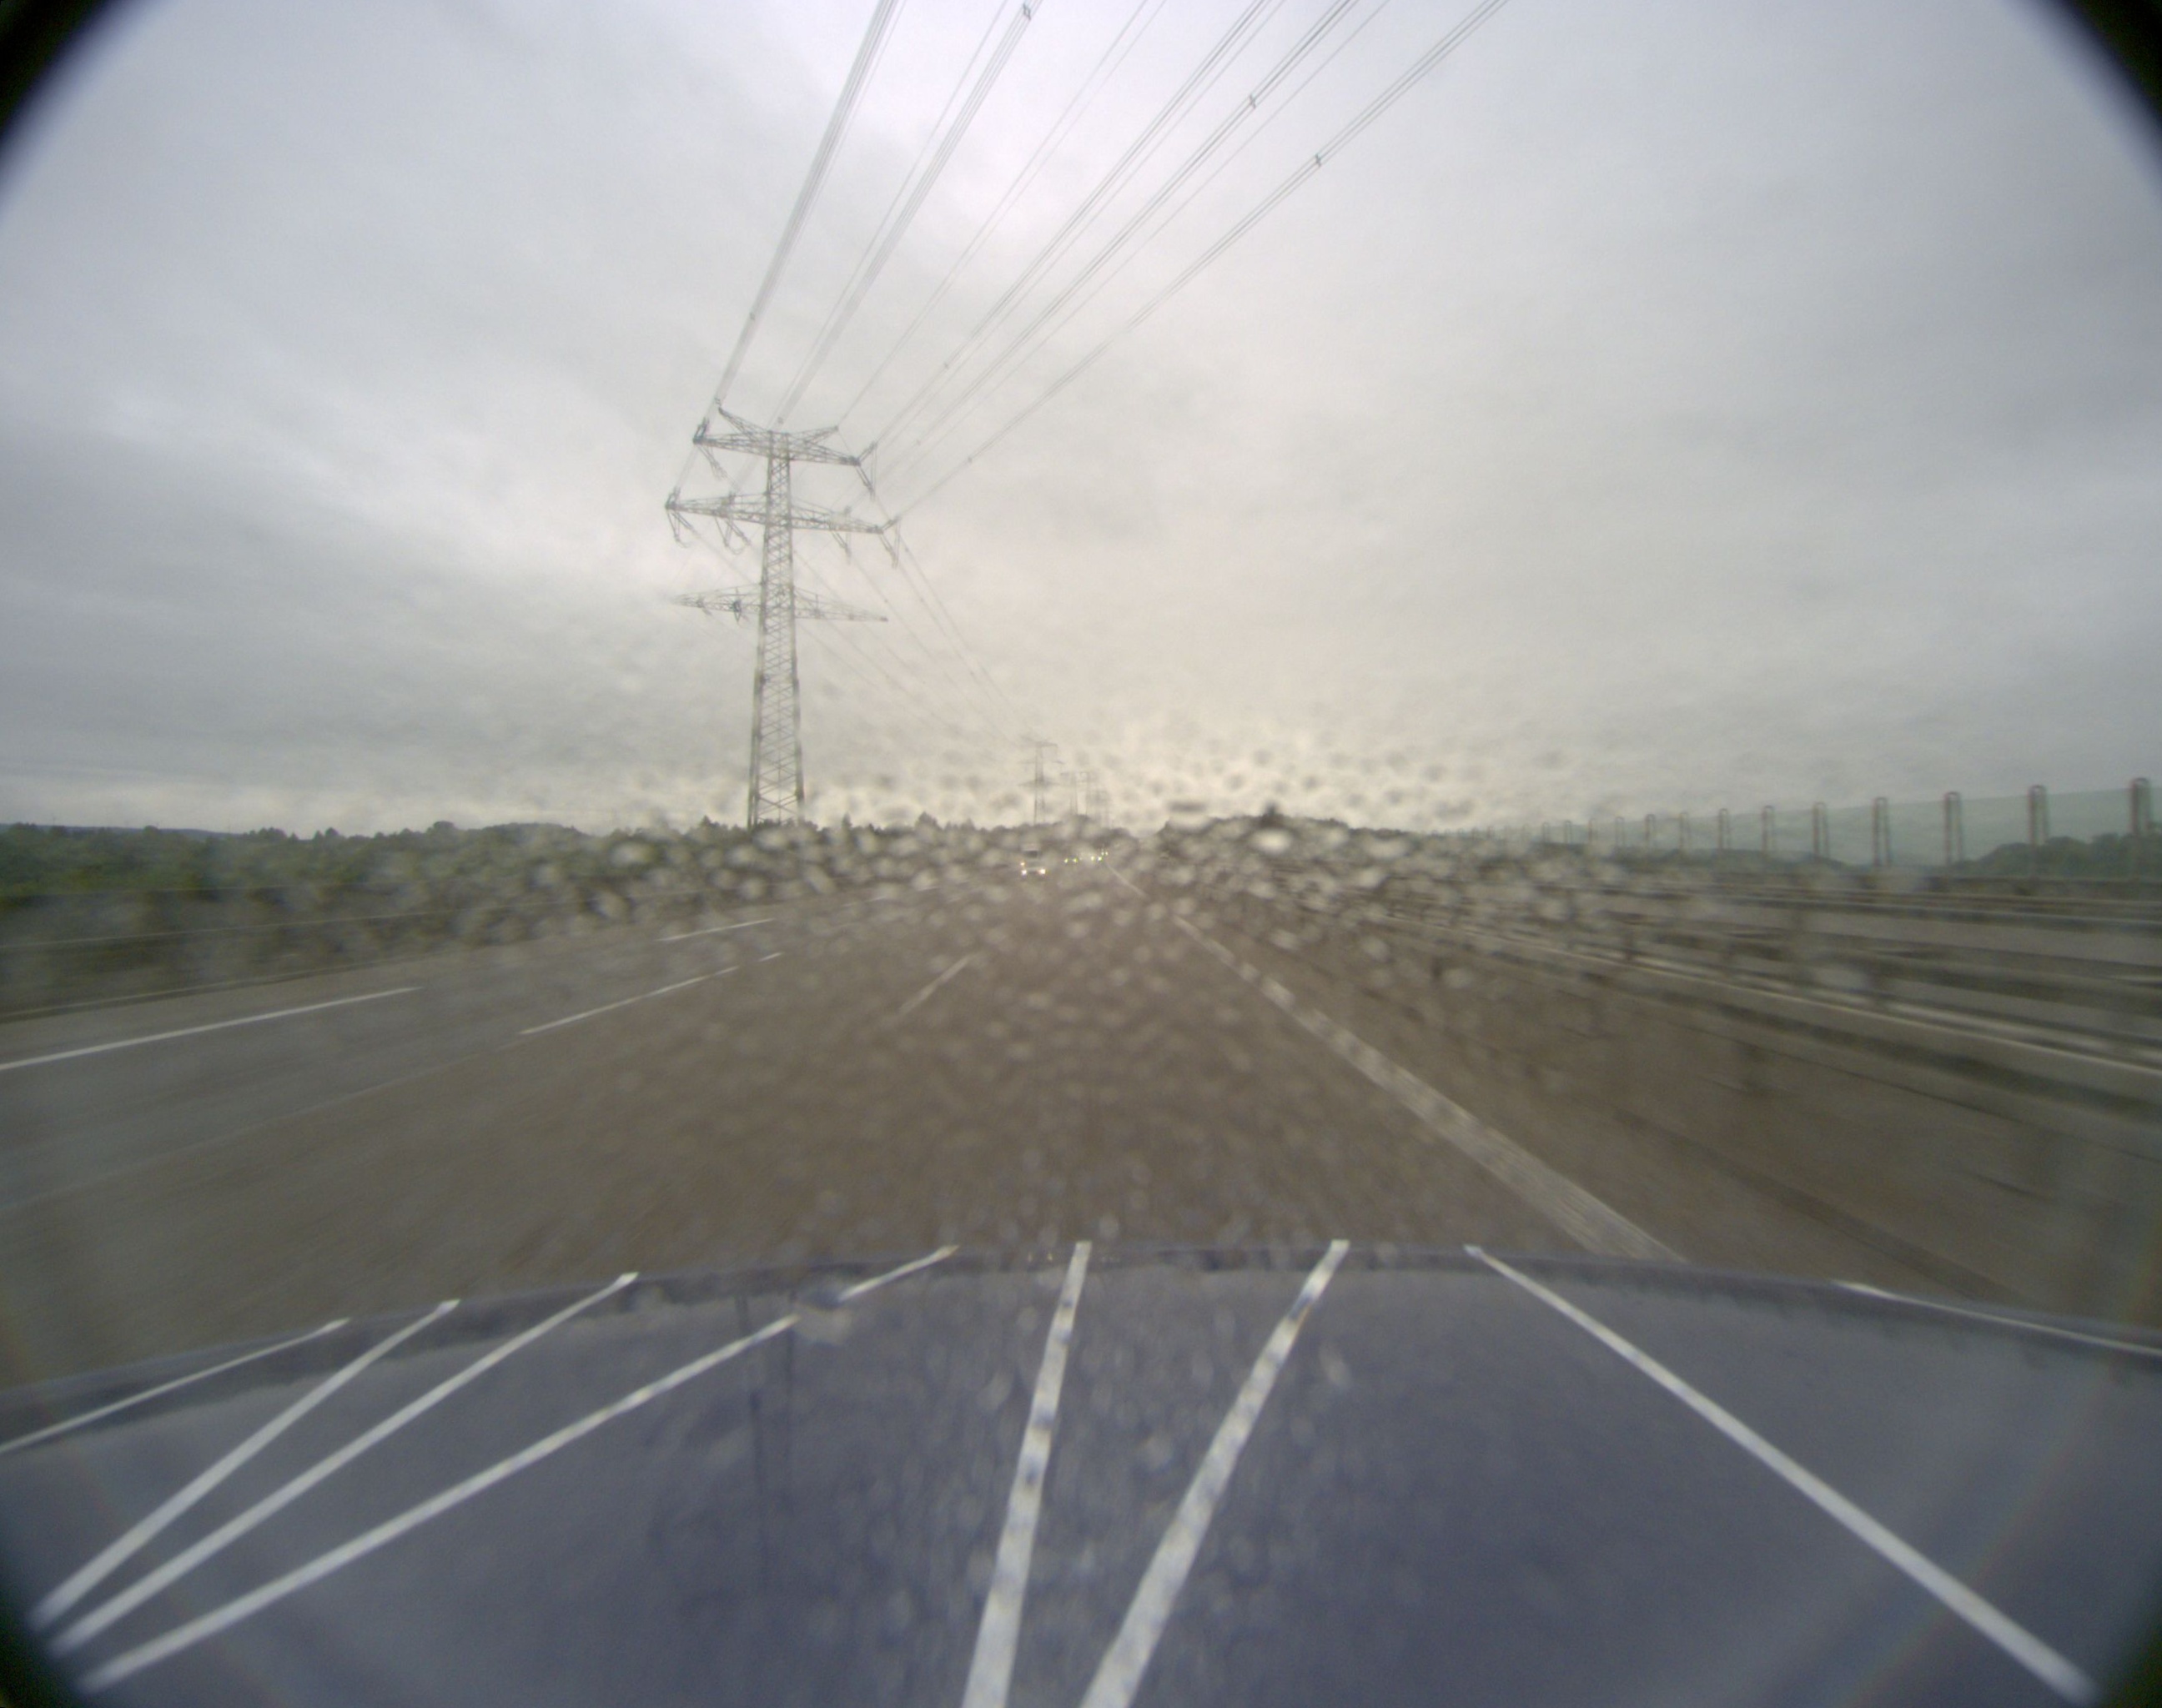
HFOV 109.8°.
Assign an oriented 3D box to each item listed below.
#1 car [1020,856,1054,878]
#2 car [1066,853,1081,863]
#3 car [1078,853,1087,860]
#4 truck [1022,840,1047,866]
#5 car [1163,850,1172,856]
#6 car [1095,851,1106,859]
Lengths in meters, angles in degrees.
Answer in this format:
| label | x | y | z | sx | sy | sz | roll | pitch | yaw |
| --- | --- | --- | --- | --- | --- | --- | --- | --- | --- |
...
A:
| label | x | y | z | sx | sy | sz | roll | pitch | yaw |
| --- | --- | --- | --- | --- | --- | --- | --- | --- | --- |
| car | -3.091 | 0.894 | 53.768 | 1.998 | 1.418 | 4.000 | -2 | 1 | 2 |
| car | -1.137 | 0.562 | 115.179 | 1.998 | 1.418 | 4.000 | -2 | 1 | 2 |
| car | 0.318 | 0.445 | 158.338 | 1.856 | 1.418 | 4.000 | -2 | 1 | 2 |
| truck | -6.316 | -0.160 | 104.323 | 2.649 | 3.325 | 6.931 | -2 | 1 | 2 |
| car | 22.357 | -0.297 | 197.082 | 1.998 | 1.620 | 4.713 | -1 | 0 | 1 |
| car | 3.732 | 0.173 | 147.167 | 1.998 | 1.418 | 4.000 | -2 | 1 | 2 |
